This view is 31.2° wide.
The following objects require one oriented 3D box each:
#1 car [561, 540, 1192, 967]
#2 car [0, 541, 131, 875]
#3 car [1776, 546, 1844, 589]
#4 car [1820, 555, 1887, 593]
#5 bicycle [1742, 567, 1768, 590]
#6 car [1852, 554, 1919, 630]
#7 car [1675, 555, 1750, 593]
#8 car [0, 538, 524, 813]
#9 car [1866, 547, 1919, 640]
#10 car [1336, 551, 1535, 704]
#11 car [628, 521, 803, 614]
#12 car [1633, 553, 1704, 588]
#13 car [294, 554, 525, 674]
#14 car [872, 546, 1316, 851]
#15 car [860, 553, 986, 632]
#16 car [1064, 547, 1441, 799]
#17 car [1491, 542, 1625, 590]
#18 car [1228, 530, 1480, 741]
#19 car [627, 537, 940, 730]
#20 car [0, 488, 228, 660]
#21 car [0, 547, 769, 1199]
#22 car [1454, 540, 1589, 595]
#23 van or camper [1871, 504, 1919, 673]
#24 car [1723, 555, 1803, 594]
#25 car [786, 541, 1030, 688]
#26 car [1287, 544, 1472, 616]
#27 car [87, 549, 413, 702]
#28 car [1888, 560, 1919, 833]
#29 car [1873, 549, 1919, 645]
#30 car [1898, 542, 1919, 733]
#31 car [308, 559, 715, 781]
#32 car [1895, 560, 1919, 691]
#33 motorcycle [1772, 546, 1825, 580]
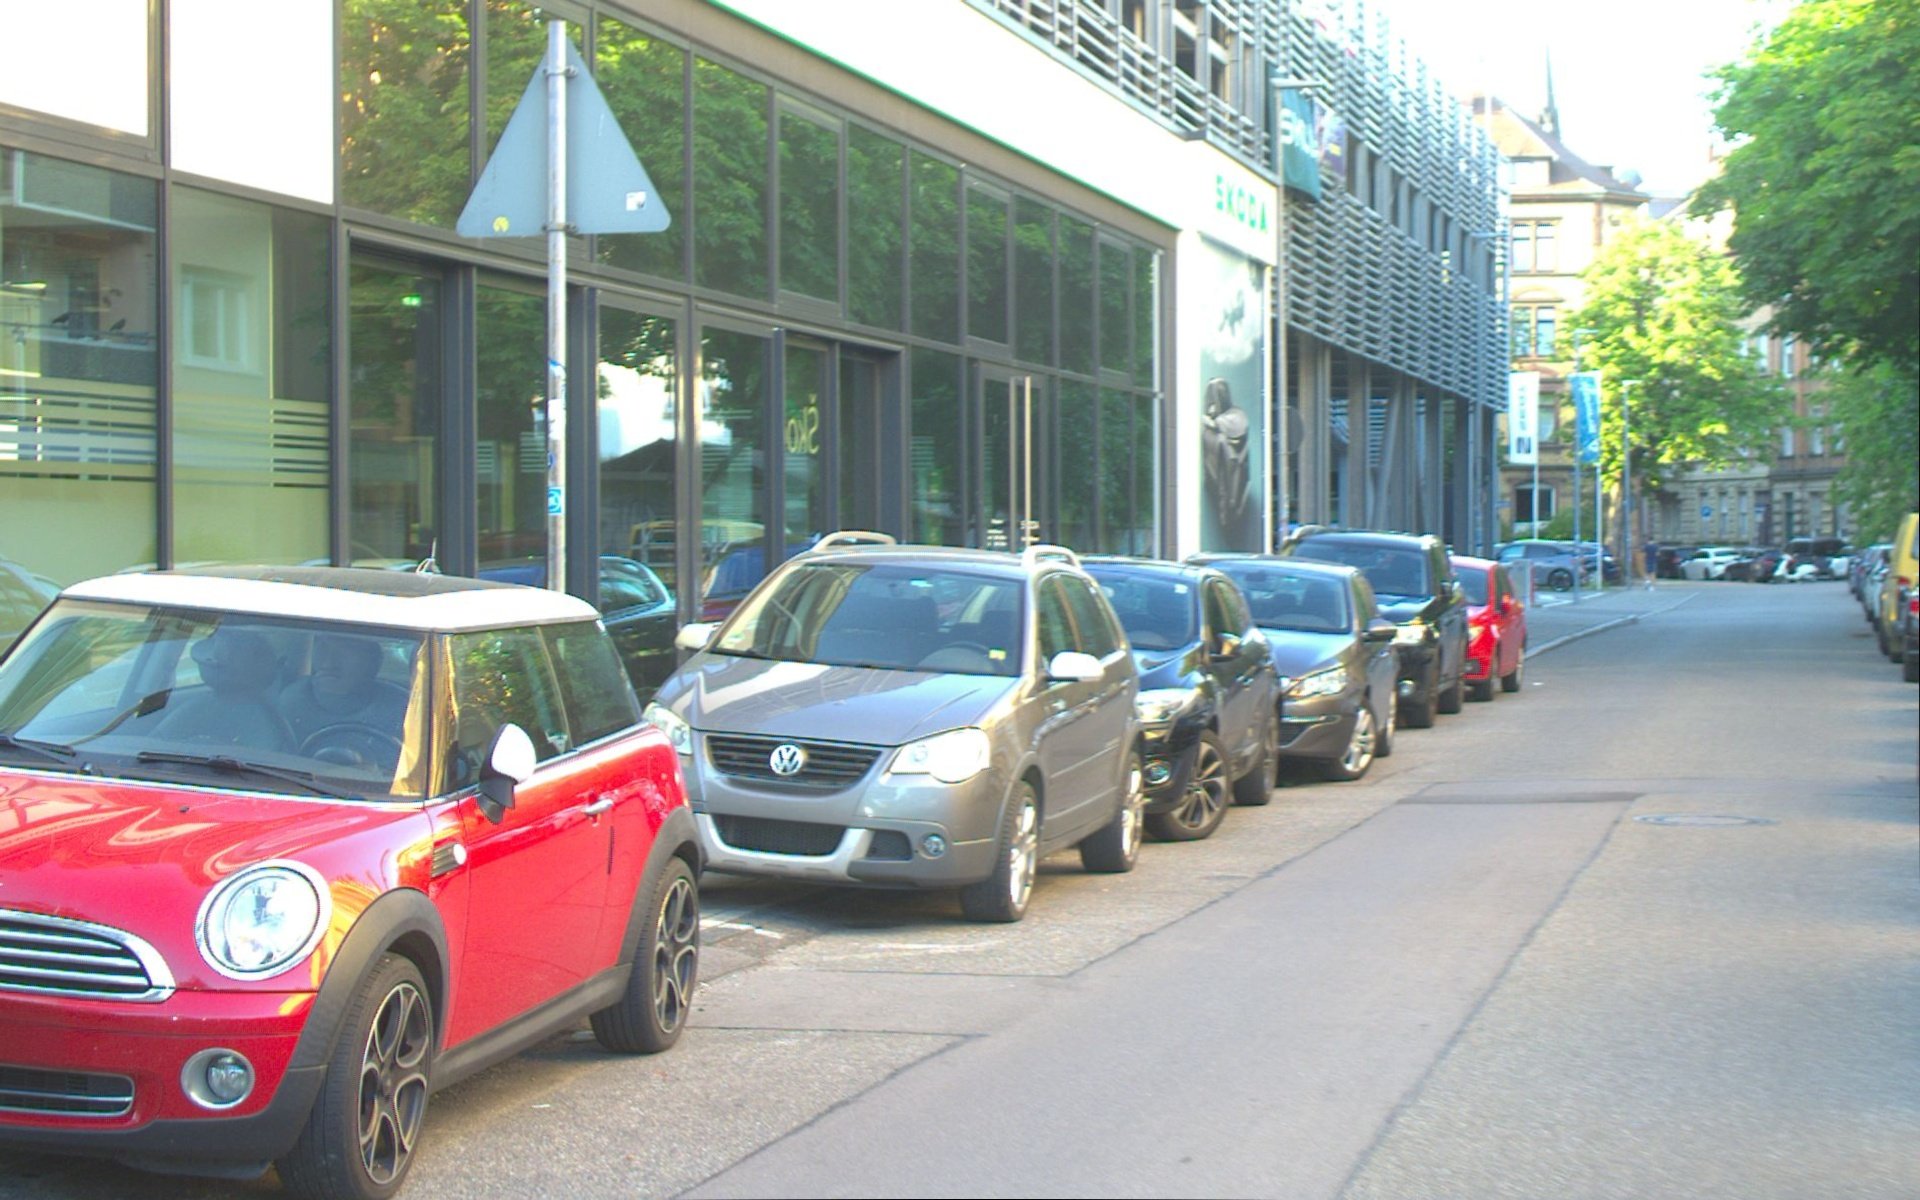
[{"bbox_3d":[-0.220,0.552,15.240,1.663,1.492,3.882,5,2,15],"label":"car"},{"bbox_3d":[-5.649,0.551,16.587,1.594,1.644,3.874,0,1,14],"label":"car"},{"bbox_3d":[35.921,-1.369,145.327,1.674,1.776,3.016,0,1,-10],"label":"car"},{"bbox_3d":[36.777,-1.070,141.536,1.674,1.520,2.768,0,1,-10],"label":"car"},{"bbox_3d":[30.597,-0.833,132.321,0.426,0.819,1.459,1,2,36],"label":"bicycle"},{"bbox_3d":[19.177,-0.184,70.299,1.760,1.437,4.003,0,2,14],"label":"car"},{"bbox_3d":[31.185,-1.093,142.538,1.654,1.426,4.168,0,2,-8],"label":"car"},{"bbox_3d":[-4.262,0.384,21.250,1.698,1.509,4.189,0,1,14],"label":"car"},{"bbox_3d":[16.768,-0.137,60.090,1.723,1.514,4.023,0,2,14],"label":"car"},{"bbox_3d":[5.079,0.252,36.358,1.698,1.501,3.788,0,1,14],"label":"car"},{"bbox_3d":[-3.429,-0.485,48.743,1.421,1.250,3.524,0,2,15],"label":"car"},{"bbox_3d":[30.356,-1.272,147.419,1.654,1.426,3.897,0,2,-10],"label":"car"},{"bbox_3d":[-6.217,0.129,39.124,1.421,1.250,3.212,0,2,15],"label":"car"},{"bbox_3d":[0.884,0.473,19.780,1.729,1.398,4.004,5,2,13],"label":"car"},{"bbox_3d":[-0.614,-0.146,58.984,1.358,1.250,3.212,0,2,15],"label":"car"},{"bbox_3d":[2.204,0.447,24.778,1.938,1.591,4.202,0,2,16],"label":"car"},{"bbox_3d":[22.300,-1.282,128.333,4.831,1.726,1.920,1,2,8],"label":"car"},{"bbox_3d":[3.617,0.254,30.941,1.698,1.750,4.400,0,1,14],"label":"car"},{"bbox_3d":[-1.559,0.256,32.082,1.698,1.653,4.407,0,1,14],"label":"car"},{"bbox_3d":[-8.194,-0.258,30.697,1.698,1.429,3.918,0,1,14],"label":"car"},{"bbox_3d":[-1.854,0.643,9.387,1.662,1.406,3.926,5,2,11],"label":"car"},{"bbox_3d":[18.000,-1.058,110.169,4.132,1.612,1.912,2,2,12],"label":"car"},{"bbox_3d":[13.058,-0.213,44.895,2.065,2.088,5.088,0,2,13],"label":"van or camper"},{"bbox_3d":[32.130,-1.028,137.651,1.654,1.426,3.991,0,2,-10],"label":"car"},{"bbox_3d":[-0.495,0.120,36.795,1.698,1.468,3.779,0,1,14],"label":"car"},{"bbox_3d":[9.468,-0.435,77.483,3.989,1.580,1.859,0,-1,13],"label":"car"},{"bbox_3d":[-7.113,0.221,34.819,1.698,1.429,3.918,0,1,14],"label":"car"},{"bbox_3d":[6.498,0.487,20.376,1.811,1.412,4.623,0,1,14],"label":"car"},{"bbox_3d":[15.534,-0.066,55.287,1.564,1.445,3.451,0,2,14],"label":"car"},{"bbox_3d":[9.256,0.271,30.306,1.793,1.557,4.191,0,1,14],"label":"car"},{"bbox_3d":[-3.307,0.466,26.119,1.698,1.509,3.991,0,1,14],"label":"car"},{"bbox_3d":[11.661,0.256,39.766,1.608,1.377,3.997,0,2,16],"label":"car"},{"bbox_3d":[32.674,-1.442,133.997,1.932,1.336,0.577,0,1,4],"label":"motorcycle"}]
